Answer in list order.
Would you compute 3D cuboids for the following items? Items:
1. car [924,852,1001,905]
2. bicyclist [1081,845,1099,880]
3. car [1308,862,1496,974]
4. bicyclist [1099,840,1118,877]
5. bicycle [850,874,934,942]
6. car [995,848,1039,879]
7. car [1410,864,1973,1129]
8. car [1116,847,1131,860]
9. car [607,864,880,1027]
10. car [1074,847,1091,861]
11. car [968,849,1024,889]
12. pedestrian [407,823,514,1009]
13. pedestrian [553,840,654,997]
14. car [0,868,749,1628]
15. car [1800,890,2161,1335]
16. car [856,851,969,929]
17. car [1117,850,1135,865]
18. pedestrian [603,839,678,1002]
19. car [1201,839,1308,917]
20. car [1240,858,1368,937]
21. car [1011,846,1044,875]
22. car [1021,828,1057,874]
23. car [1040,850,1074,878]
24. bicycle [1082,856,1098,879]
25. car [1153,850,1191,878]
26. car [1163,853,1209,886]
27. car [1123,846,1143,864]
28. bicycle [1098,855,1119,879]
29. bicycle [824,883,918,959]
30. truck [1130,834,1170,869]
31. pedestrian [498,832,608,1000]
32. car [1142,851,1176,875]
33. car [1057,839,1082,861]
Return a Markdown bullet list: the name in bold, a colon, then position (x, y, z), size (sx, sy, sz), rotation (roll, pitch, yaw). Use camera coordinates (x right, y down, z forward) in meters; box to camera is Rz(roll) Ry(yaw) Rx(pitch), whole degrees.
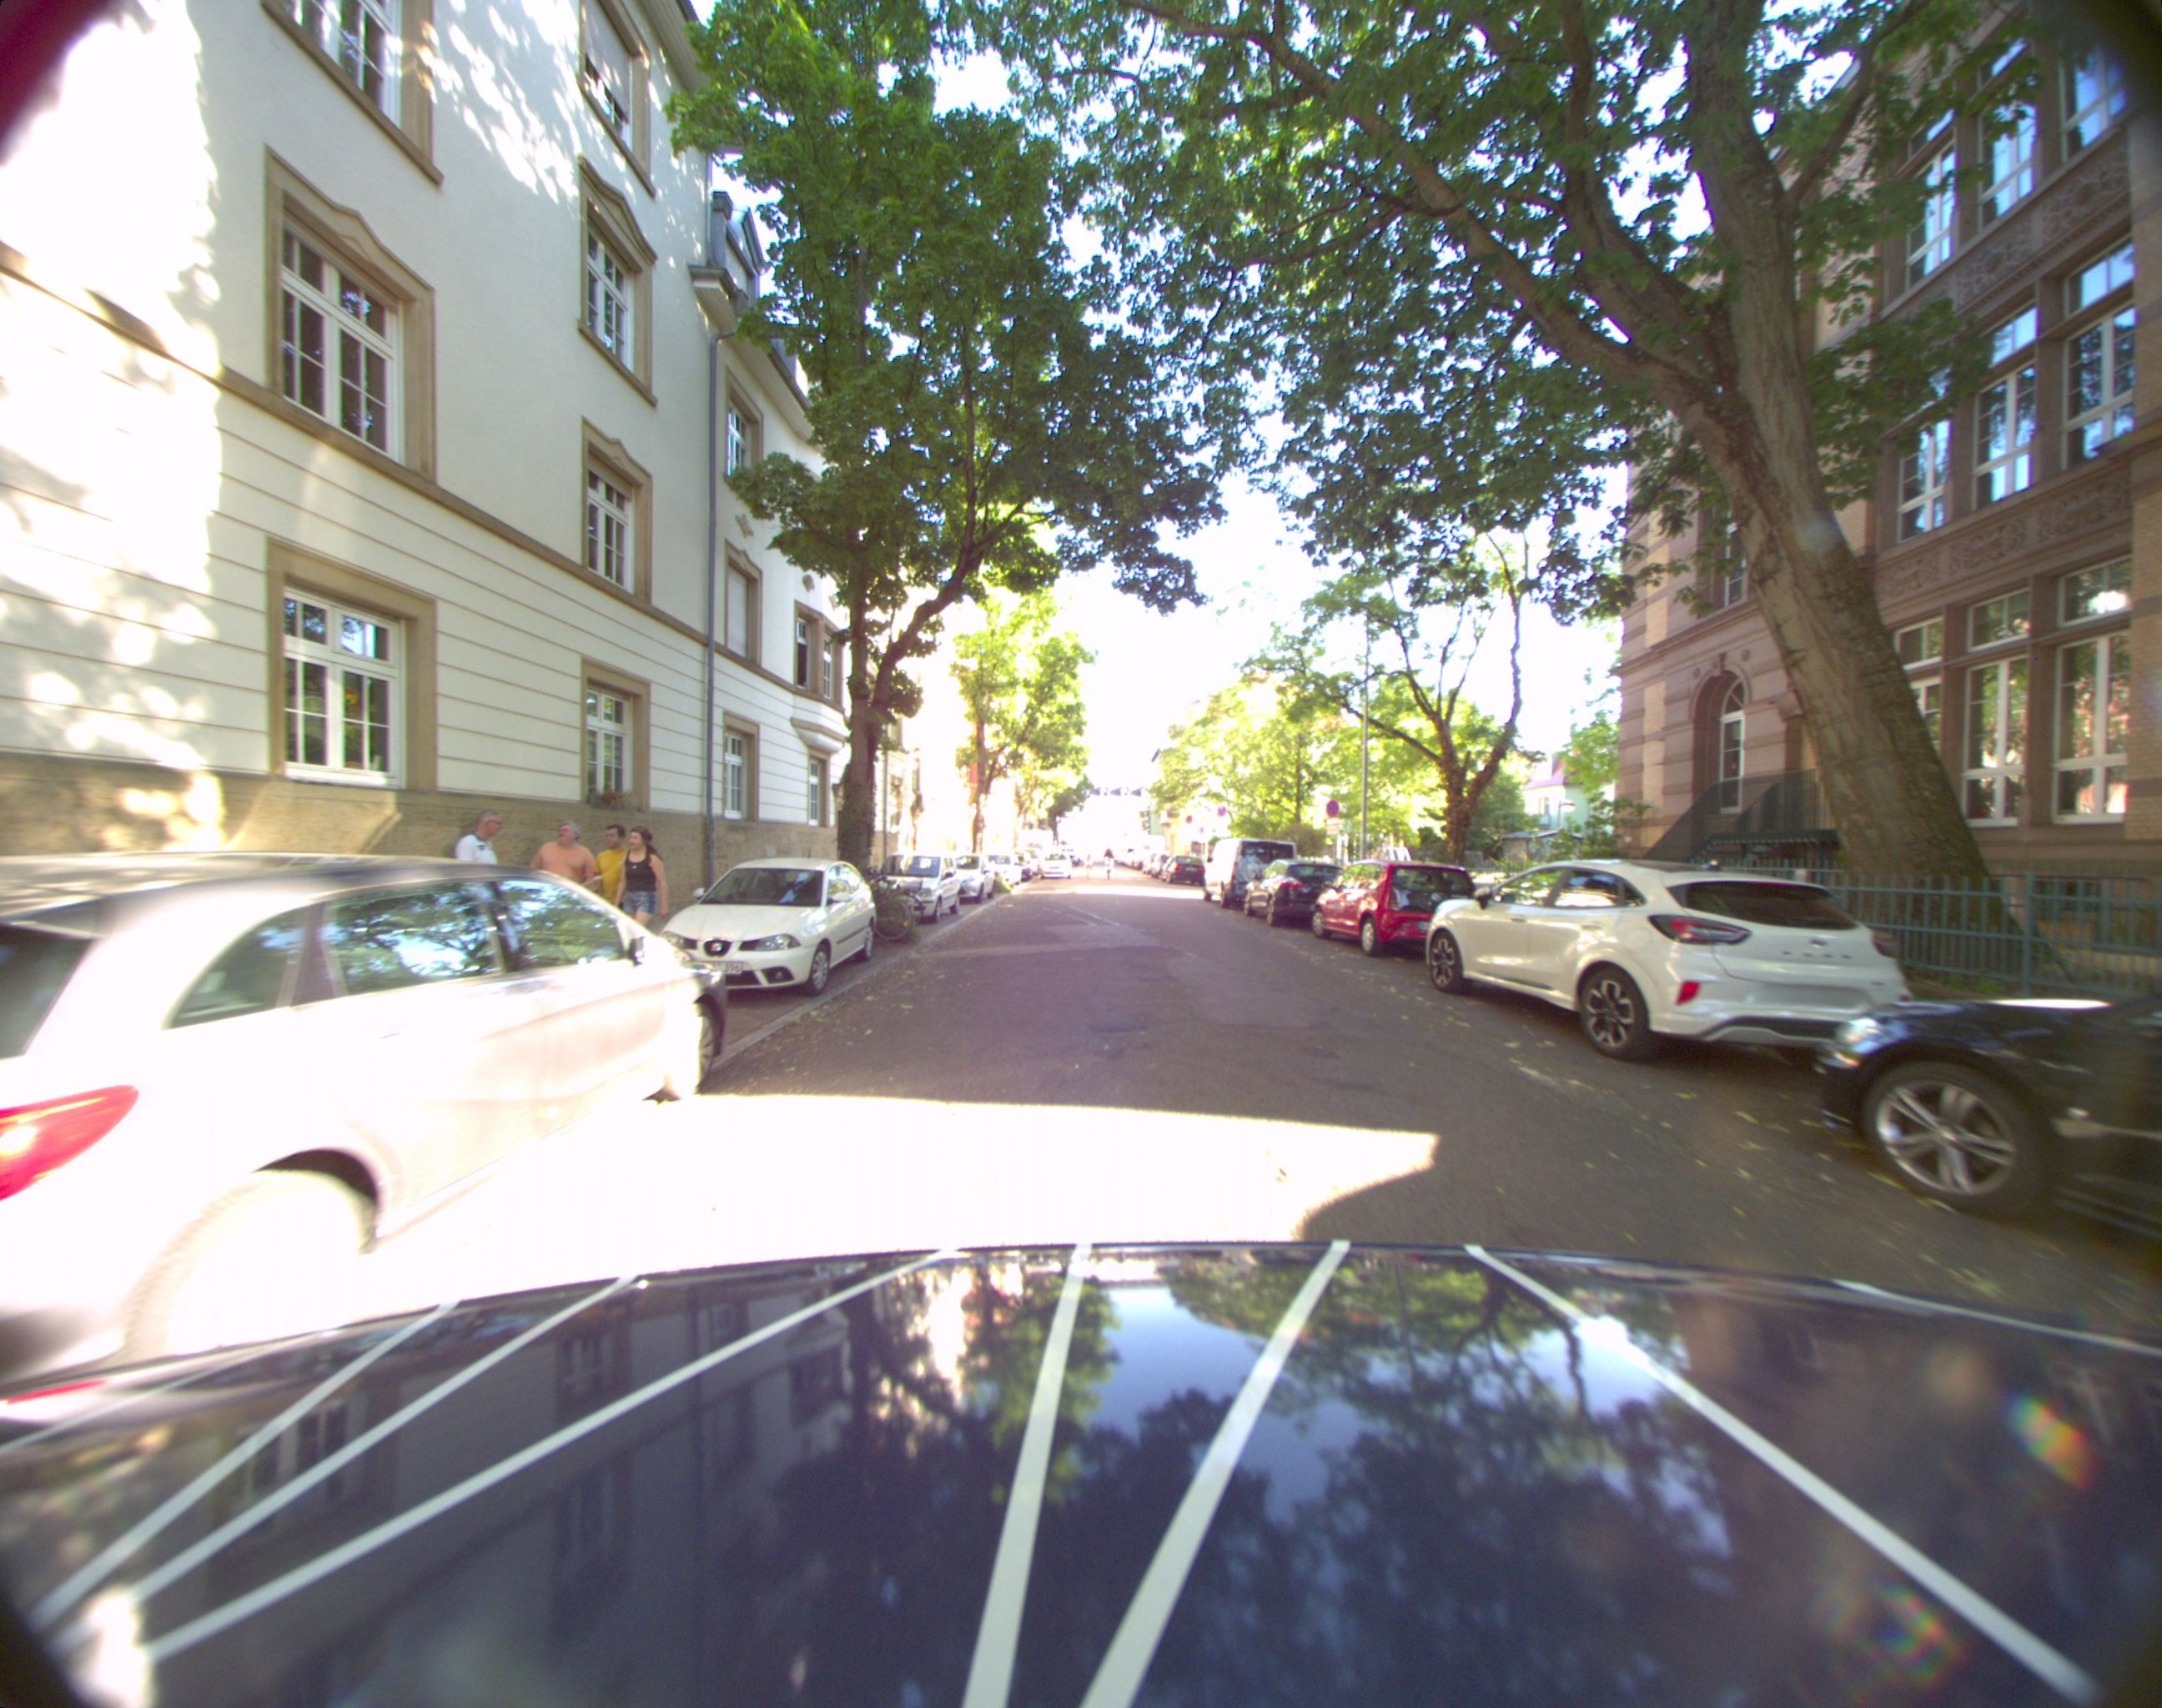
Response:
- **car**: position (-3.503, 0.683, 23.157), size (1.651, 1.434, 4.000), rotation (1, 1, 1)
- **bicyclist**: position (0.472, 0.448, 40.542), size (0.934, 1.809, 1.077), rotation (1, 1, 1)
- **car**: position (5.006, 0.914, 12.331), size (1.624, 1.455, 3.310), rotation (2, 1, 1)
- **bicyclist**: position (1.437, 0.242, 40.049), size (0.967, 1.904, 1.139), rotation (1, 1, 1)
- **bicycle**: position (-3.399, 0.968, 13.705), size (1.414, 1.188, 0.336), rotation (1, 1, -2)
- **car**: position (-3.154, 0.437, 38.193), size (1.812, 1.412, 4.000), rotation (1, 1, 1)
- **car**: position (4.835, 0.959, 6.940), size (1.793, 1.524, 3.999), rotation (4, 0, -1)
- **car**: position (5.392, -0.095, 97.182), size (1.597, 1.557, 3.999), rotation (1, 1, 0)
- **car**: position (-3.658, 0.895, 9.028), size (1.728, 1.399, 3.854), rotation (2, 1, -4)
- **car**: position (0.268, -0.004, 102.707), size (2.146, 1.758, 4.809), rotation (1, 1, 2)
- **car**: position (-3.499, 0.576, 31.904), size (1.824, 1.521, 4.000), rotation (1, 1, 1)
- **pedestrian**: position (-6.409, 0.615, 7.877), size (0.529, 1.834, 0.707), rotation (1, 1, 2)
- **pedestrian**: position (-5.370, 0.692, 8.585), size (0.624, 1.675, 0.818), rotation (1, 1, 0)
- **car**: position (-3.230, 0.912, 3.375), size (1.685, 1.531, 4.133), rotation (2, 0, -1)
- **car**: position (4.669, 1.029, 1.908), size (1.586, 1.456, 3.996), rotation (4, 1, -6)
- **car**: position (-3.704, 0.725, 17.385), size (1.639, 1.524, 4.000), rotation (1, 1, 1)
- **car**: position (5.164, 0.338, 87.831), size (1.809, 1.638, 3.999), rotation (1, 1, 0)
- **pedestrian**: position (-4.786, 0.702, 8.275), size (0.520, 1.709, 0.516), rotation (1, 1, -1)
- **car**: position (4.974, 0.615, 22.575), size (1.998, 1.946, 5.042), rotation (3, 1, 1)
- **car**: position (4.853, 0.885, 17.096), size (1.731, 1.455, 3.844), rotation (2, 0, 1)
- **car**: position (-3.253, 0.339, 46.517), size (1.660, 1.674, 4.082), rotation (1, 1, 1)
- **car**: position (-2.880, -0.227, 53.692), size (1.998, 2.984, 6.238), rotation (-2, 1, 1)
- **car**: position (-1.268, 0.499, 41.748), size (1.654, 1.449, 4.000), rotation (1, 1, 1)
- **bicycle**: position (0.464, 0.675, 40.434), size (0.810, 1.136, 2.547), rotation (1, 1, 0)
- **car**: position (5.132, 0.523, 43.405), size (1.755, 1.464, 4.000), rotation (0, 1, 1)
- **car**: position (5.057, 0.694, 37.055), size (1.739, 1.456, 4.000), rotation (1, 1, 1)
- **car**: position (5.517, 0.078, 81.337), size (1.809, 1.791, 4.189), rotation (1, 1, 0)
- **bicycle**: position (1.420, 0.669, 39.998), size (0.985, 1.136, 2.547), rotation (1, 1, 0)
- **bicycle**: position (-3.387, 1.080, 12.297), size (1.414, 1.188, 0.336), rotation (1, 1, -2)
- **truck**: position (5.457, -0.248, 61.177), size (2.395, 2.642, 7.091), rotation (1, 1, -1)
- **pedestrian**: position (-6.037, 0.675, 8.730), size (0.706, 1.834, 0.840), rotation (1, 1, -5)
- **car**: position (5.041, 0.536, 49.473), size (1.788, 1.450, 4.208), rotation (1, 1, 1)
- **car**: position (-1.044, -0.355, 72.489), size (2.146, 2.002, 4.863), rotation (1, 1, 1)
